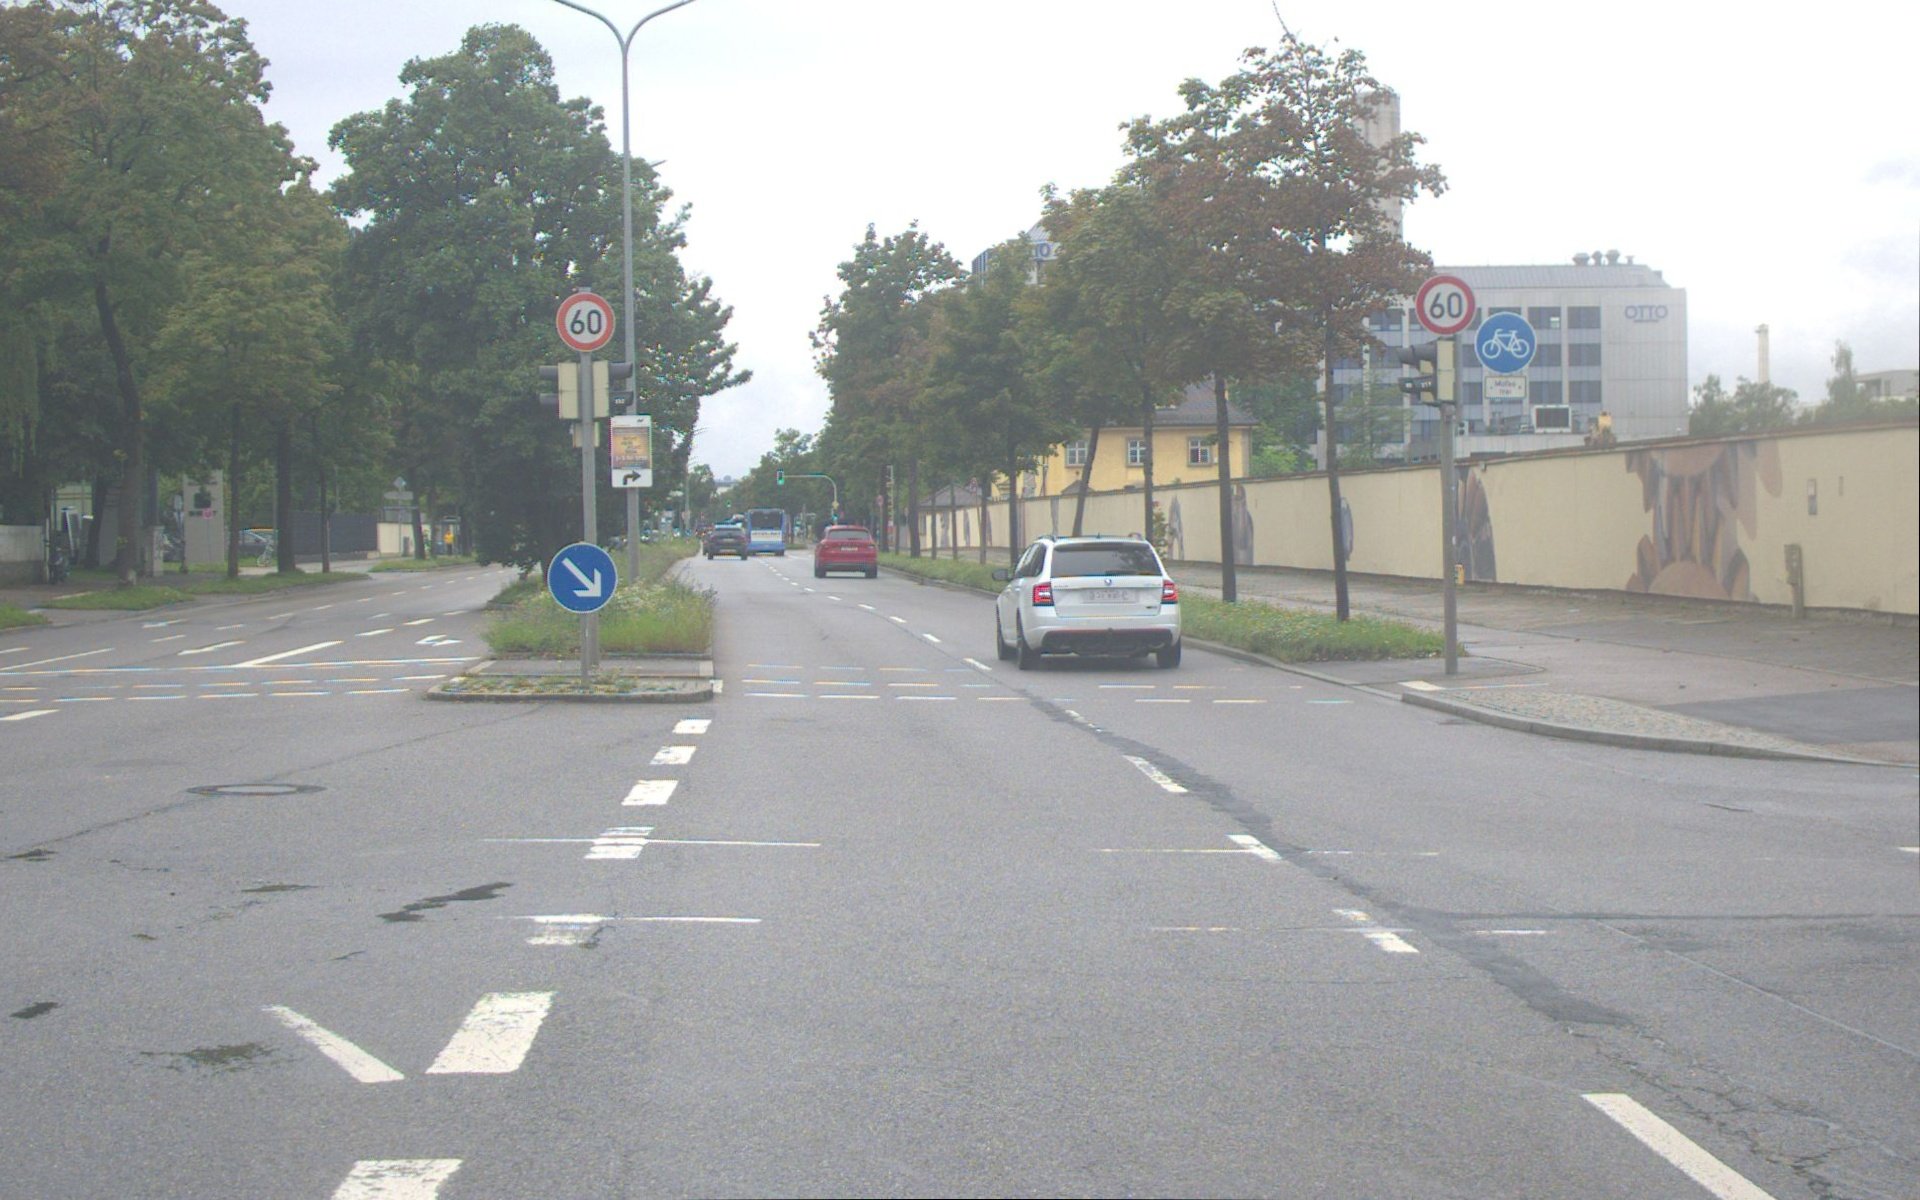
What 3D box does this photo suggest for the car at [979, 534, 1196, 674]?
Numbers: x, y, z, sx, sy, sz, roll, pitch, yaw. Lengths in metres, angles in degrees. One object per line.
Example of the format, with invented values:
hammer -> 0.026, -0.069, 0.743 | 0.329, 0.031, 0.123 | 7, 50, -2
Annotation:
car -> 1.356, -0.002, 38.494 | 1.877, 1.463, 4.503 | 0, 1, -5

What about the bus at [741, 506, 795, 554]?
bus -> -12.988, -4.690, 231.405 | 3.220, 3.116, 10.347 | 0, 1, -5

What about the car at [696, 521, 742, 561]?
car -> -11.566, -2.831, 164.706 | 2.084, 1.859, 4.387 | 0, 1, -5

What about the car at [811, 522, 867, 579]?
car -> -3.716, -1.519, 104.971 | 1.484, 1.710, 3.552 | 0, 1, -5
